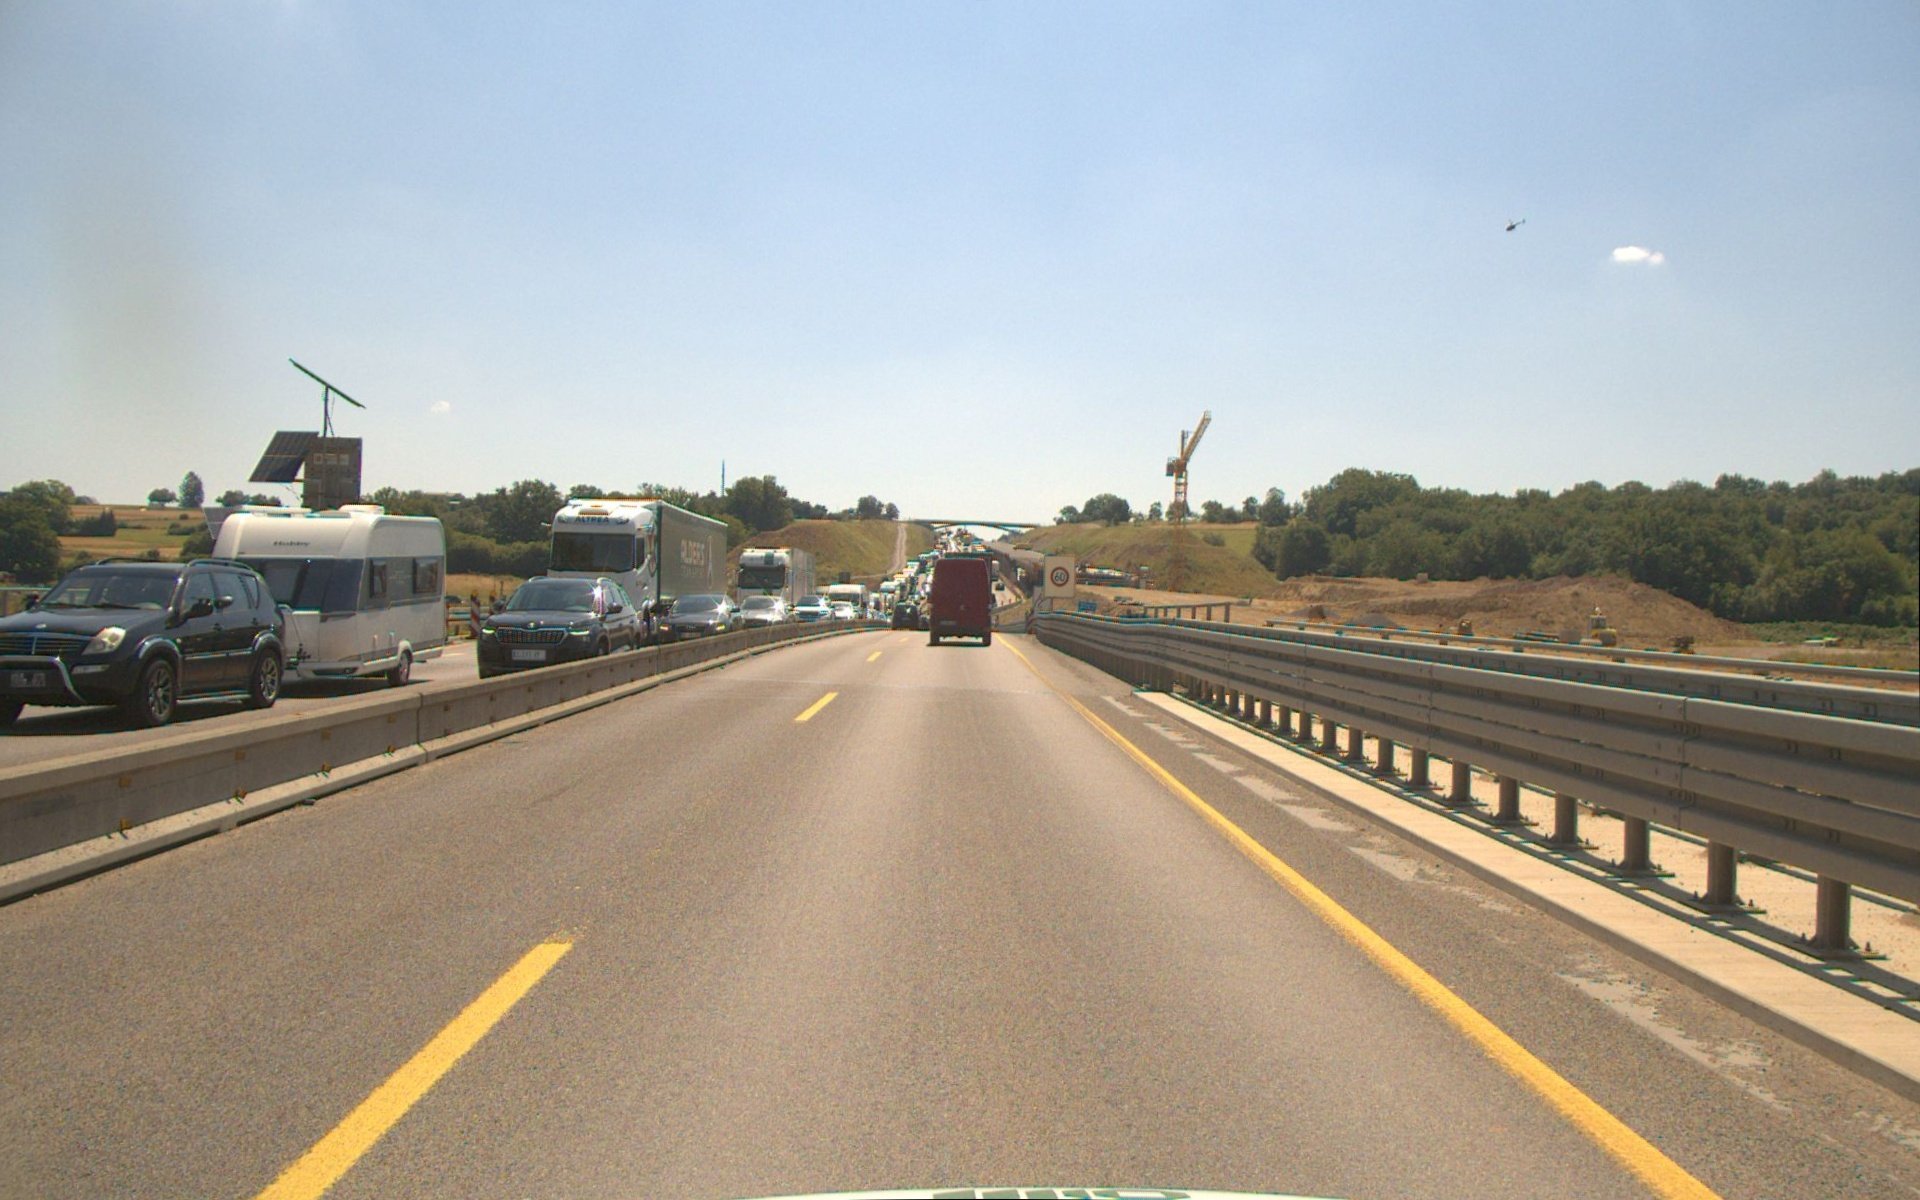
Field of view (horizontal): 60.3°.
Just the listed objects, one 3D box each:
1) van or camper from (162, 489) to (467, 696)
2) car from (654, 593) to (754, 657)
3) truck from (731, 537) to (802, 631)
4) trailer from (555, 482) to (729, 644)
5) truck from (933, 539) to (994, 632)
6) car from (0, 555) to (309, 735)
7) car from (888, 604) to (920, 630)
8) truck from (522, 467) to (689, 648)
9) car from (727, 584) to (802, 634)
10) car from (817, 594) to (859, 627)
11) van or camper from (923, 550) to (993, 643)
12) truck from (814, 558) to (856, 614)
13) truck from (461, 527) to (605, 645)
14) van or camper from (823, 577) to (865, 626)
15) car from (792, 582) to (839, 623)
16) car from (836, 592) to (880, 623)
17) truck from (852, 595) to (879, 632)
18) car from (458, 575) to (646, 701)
[{"bbox_3d":[-9.430,-0.108,24.769,2.452,2.746,5.243,1,0,0],"label":"van or camper"},{"bbox_3d":[-6.403,0.589,41.784,1.741,1.445,4.538,2,0,0],"label":"car"},{"bbox_3d":[-9.592,-0.789,82.678,2.749,4.469,6.225,1,0,0],"label":"truck"},{"bbox_3d":[-9.798,-1.058,52.778,3.038,4.543,13.019,0,0,0],"label":"trailer"},{"bbox_3d":[0.132,-0.761,89.622,2.960,4.775,6.929,-1,0,-2],"label":"truck"},{"bbox_3d":[-9.139,0.435,18.652,1.731,1.765,4.790,0,0,0],"label":"car"},{"bbox_3d":[-3.505,1.054,103.770,1.971,1.572,4.131,1,0,-2],"label":"car"},{"bbox_3d":[-9.733,-1.103,46.254,3.014,4.616,7.103,1,0,0],"label":"truck"},{"bbox_3d":[-6.373,0.264,54.366,1.827,1.484,4.607,3,0,0],"label":"car"},{"bbox_3d":[-6.085,0.503,82.456,1.954,1.524,4.970,2,0,-4],"label":"car"},{"bbox_3d":[-0.104,-0.102,52.616,1.988,2.792,4.513,1,0,-2],"label":"van or camper"},{"bbox_3d":[-9.968,-1.112,132.382,2.746,4.225,10.076,2,0,-1],"label":"truck"},{"bbox_3d":[-15.033,-0.483,58.958,2.845,3.830,8.367,2,0,0],"label":"truck"},{"bbox_3d":[-6.442,0.063,91.537,2.175,2.555,6.527,2,0,-4],"label":"van or camper"},{"bbox_3d":[-6.342,0.101,72.930,1.721,1.675,4.155,2,0,-1],"label":"car"},{"bbox_3d":[-6.380,0.457,104.298,2.323,1.756,5.780,3,0,0],"label":"car"},{"bbox_3d":[-11.127,1.552,195.081,2.919,4.258,5.867,1,-1,-6],"label":"truck"},{"bbox_3d":[-6.257,0.528,25.909,1.810,1.717,4.617,2,0,-1],"label":"car"}]
